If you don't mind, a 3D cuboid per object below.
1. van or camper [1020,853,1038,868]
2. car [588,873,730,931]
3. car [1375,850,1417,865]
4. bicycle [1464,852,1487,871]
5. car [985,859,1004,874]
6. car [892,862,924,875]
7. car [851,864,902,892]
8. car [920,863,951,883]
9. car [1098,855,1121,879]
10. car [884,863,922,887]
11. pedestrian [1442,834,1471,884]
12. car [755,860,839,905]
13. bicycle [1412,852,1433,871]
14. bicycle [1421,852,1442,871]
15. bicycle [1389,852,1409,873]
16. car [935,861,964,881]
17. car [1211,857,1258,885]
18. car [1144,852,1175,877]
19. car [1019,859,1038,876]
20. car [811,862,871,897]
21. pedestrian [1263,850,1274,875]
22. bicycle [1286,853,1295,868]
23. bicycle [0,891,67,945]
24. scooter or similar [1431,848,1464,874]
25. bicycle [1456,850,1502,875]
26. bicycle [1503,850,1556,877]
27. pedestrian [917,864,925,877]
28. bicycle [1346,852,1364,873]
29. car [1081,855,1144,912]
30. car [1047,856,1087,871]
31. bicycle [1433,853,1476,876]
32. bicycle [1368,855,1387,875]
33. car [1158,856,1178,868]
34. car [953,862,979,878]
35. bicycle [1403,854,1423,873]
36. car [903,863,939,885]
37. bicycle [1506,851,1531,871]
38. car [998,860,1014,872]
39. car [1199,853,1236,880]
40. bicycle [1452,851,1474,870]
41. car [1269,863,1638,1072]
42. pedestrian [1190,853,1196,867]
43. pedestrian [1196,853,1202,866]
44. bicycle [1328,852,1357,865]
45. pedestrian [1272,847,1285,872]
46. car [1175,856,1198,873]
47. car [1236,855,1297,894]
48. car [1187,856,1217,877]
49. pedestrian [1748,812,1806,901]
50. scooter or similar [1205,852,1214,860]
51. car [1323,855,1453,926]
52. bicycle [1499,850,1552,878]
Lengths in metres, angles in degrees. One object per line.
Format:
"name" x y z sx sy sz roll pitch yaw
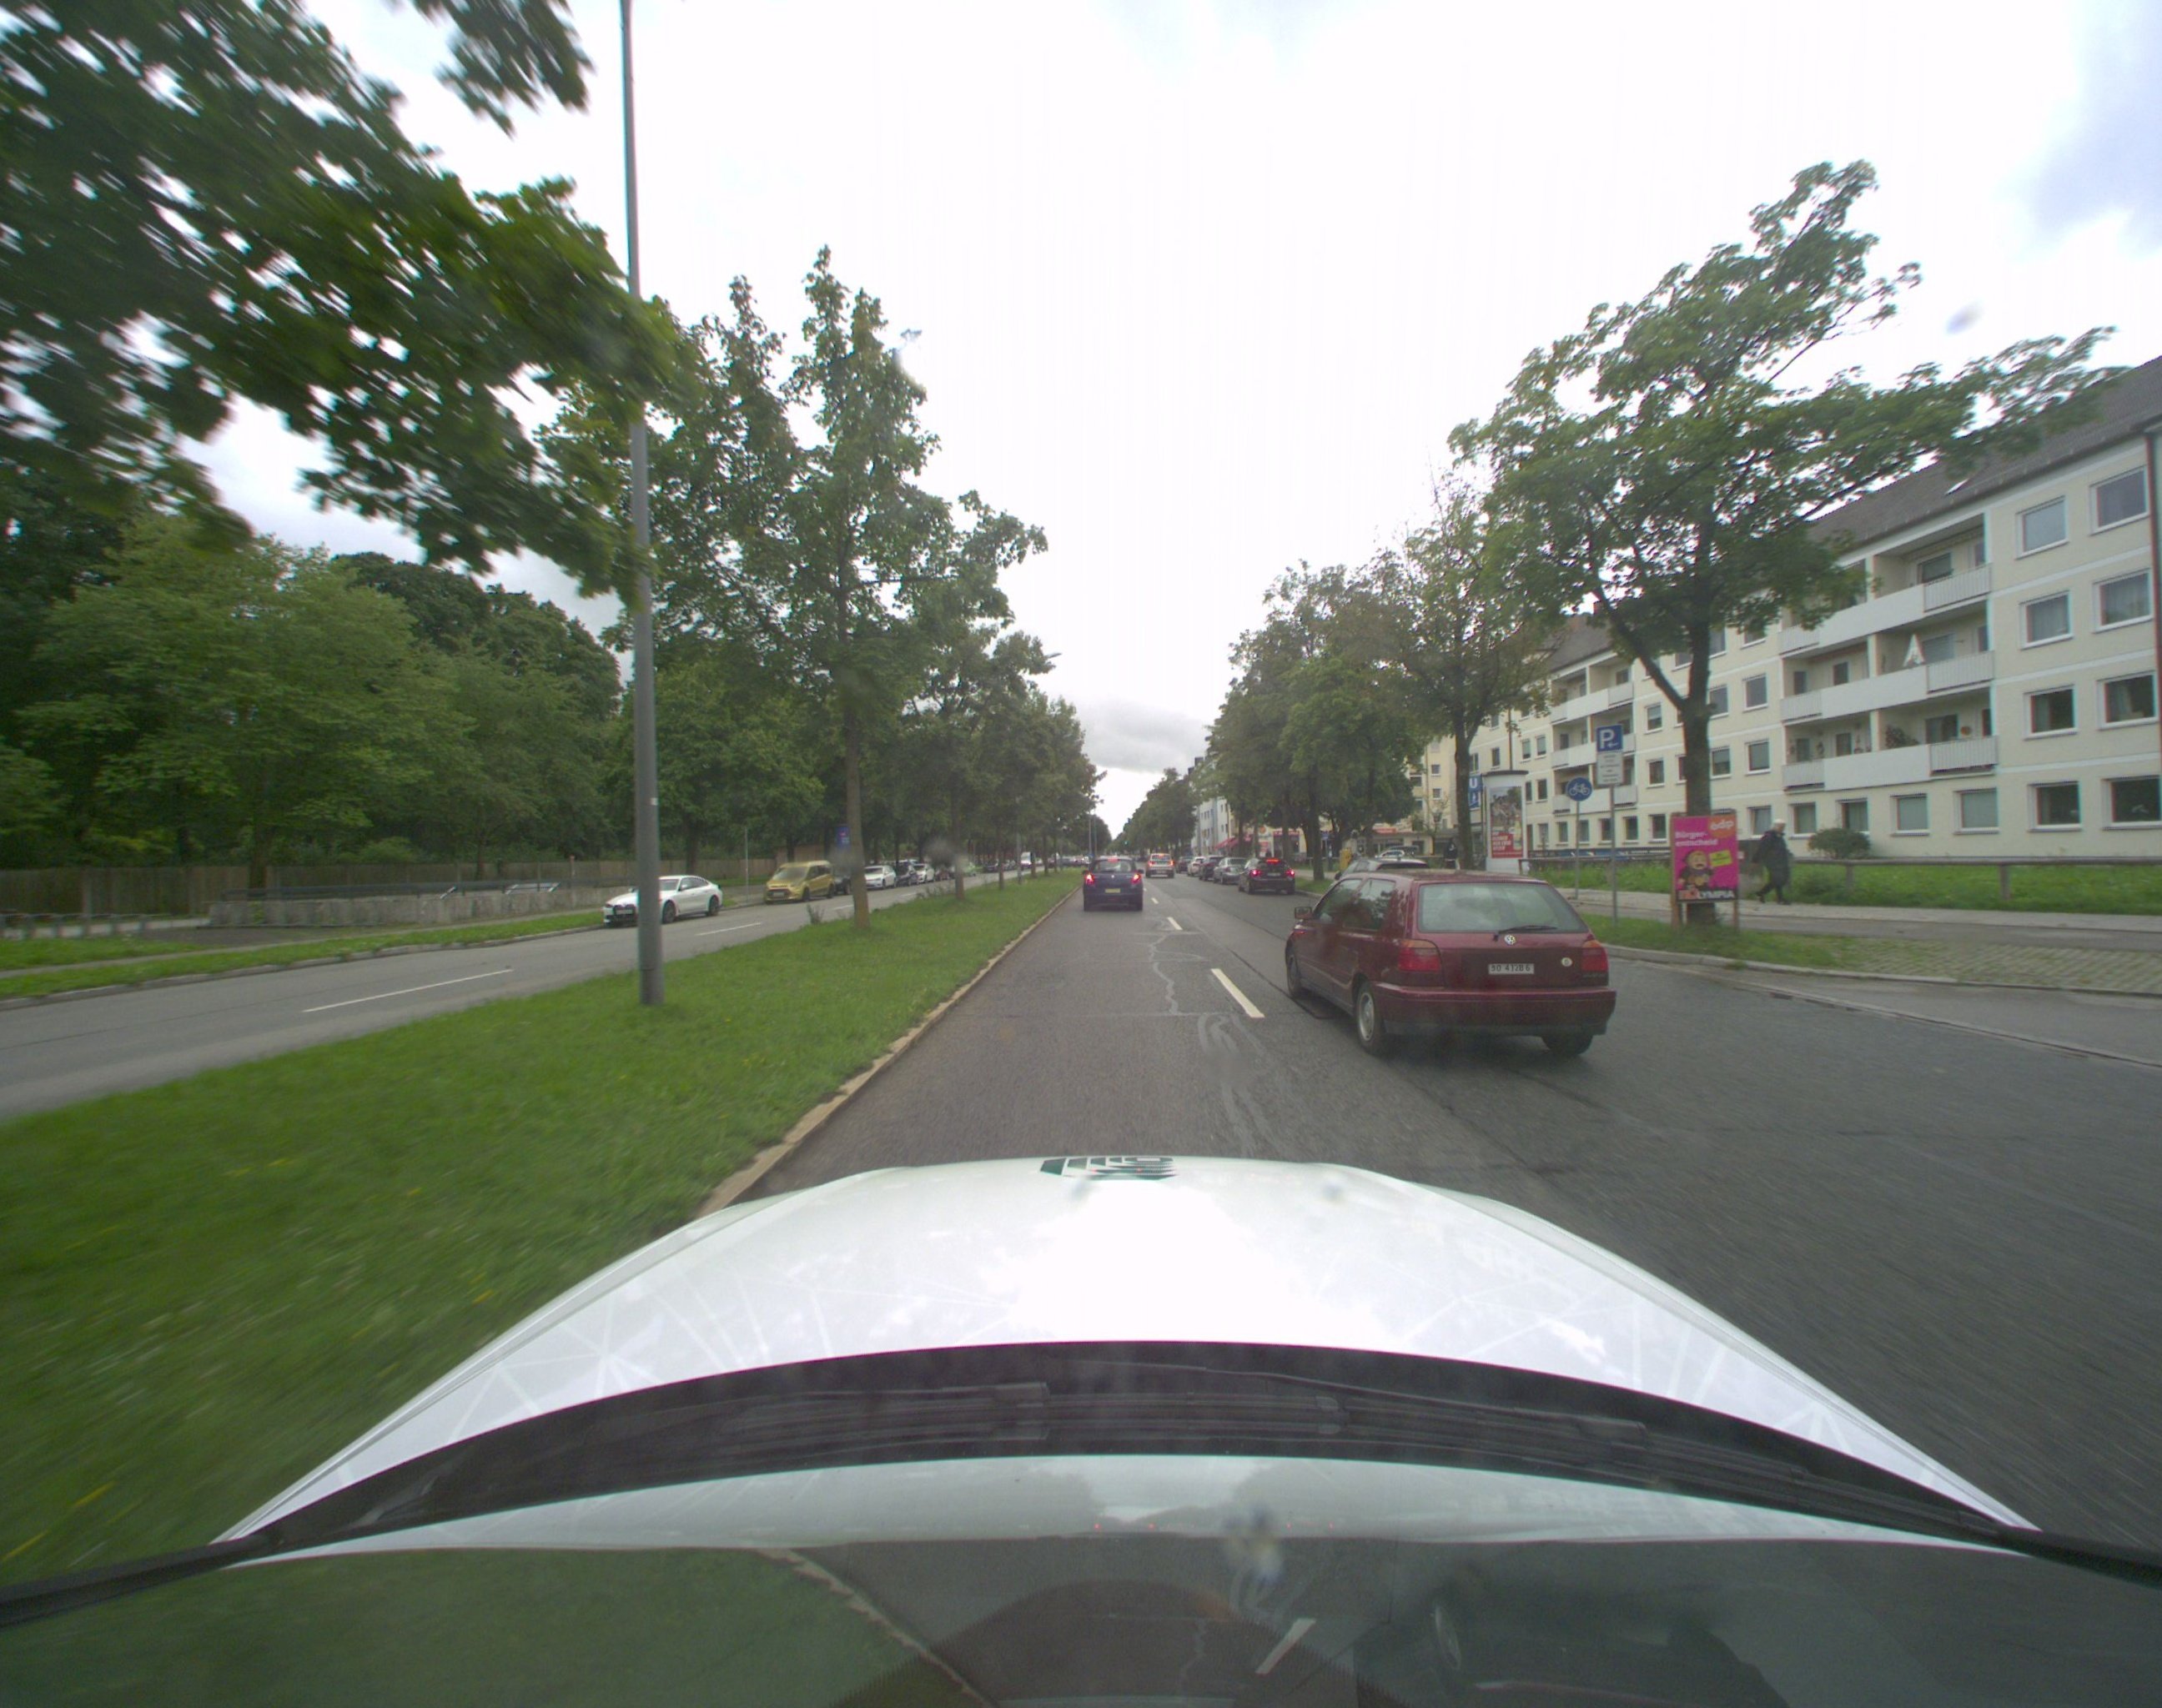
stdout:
"van or camper" -8.803 1.182 138.882 2.108 2.482 7.455 -1 -1 3
"car" -13.452 1.470 26.374 1.850 1.472 4.877 -3 0 2
"car" 32.219 0.326 83.315 3.536 1.417 1.872 -2 0 0
"bicycle" 21.931 0.406 45.280 0.429 1.028 1.885 -2 0 3
"car" -10.302 1.491 97.535 1.710 1.741 3.880 -1 -1 2
"car" -23.325 1.910 109.970 3.910 1.718 1.671 0 -1 -4
"car" -12.427 1.424 49.797 1.756 1.449 4.535 -3 0 2
"car" -11.768 1.514 65.975 1.583 1.397 3.634 -3 0 4
"car" 1.858 0.844 53.825 1.439 1.483 3.107 -1 0 1
"car" -11.992 1.400 54.986 1.608 1.417 3.897 -3 0 0
"pedestrian" 13.740 0.182 29.807 0.636 1.749 0.850 -3 0 3
"car" -12.778 1.241 37.018 1.807 1.783 4.822 -3 0 3
"bicycle" 18.988 0.419 45.272 0.429 1.028 1.885 -2 0 3
"bicycle" 19.471 0.401 45.288 0.429 1.028 1.885 -2 0 3
"bicycle" 17.748 0.456 45.418 0.429 1.101 1.885 -2 0 3
"car" -11.566 1.434 71.763 1.684 1.586 4.372 -3 0 2
"car" 8.078 0.878 43.169 1.631 1.386 4.243 0 0 -1
"car" 5.408 0.707 56.518 1.859 1.661 4.408 0 0 1
"car" -6.449 1.617 101.104 1.793 1.934 4.995 -3 -1 2
"car" -12.717 1.319 43.439 1.730 1.646 4.257 -3 0 2
"pedestrian" 14.625 0.680 63.427 0.586 1.890 0.902 -2 -1 1
"bicycle" 16.606 0.518 64.551 0.380 1.103 1.885 -1 -1 3
"bicycle" -23.379 1.404 17.652 0.429 1.100 1.827 -1 0 3
"scooter or similar" 17.379 0.343 38.650 0.360 1.200 1.374 -2 -1 -40
"bicycle" 18.119 0.380 37.072 1.872 1.028 0.432 -2 -1 -1
"bicycle" 17.999 0.375 32.700 1.873 1.028 0.432 -2 -1 -4
"pedestrian" -18.320 1.872 93.424 0.724 1.534 0.721 -1 -1 3
"bicycle" 15.477 0.487 46.061 0.429 1.133 1.885 -2 0 3
"car" 0.912 0.798 24.086 1.676 1.502 3.920 -1 0 1
"car" -1.465 1.002 85.955 4.113 1.468 1.837 -2 0 -4
"bicycle" 18.101 0.485 39.459 1.872 1.028 0.432 -2 -1 -1
"bicycle" 16.594 0.604 45.563 0.429 1.028 1.885 -2 0 3
"car" 10.693 0.965 100.336 1.860 1.417 4.222 -2 0 -1
"car" -11.243 1.514 79.876 1.540 1.409 3.884 -3 0 5
"bicycle" 18.445 0.524 45.301 0.429 1.028 1.885 -2 0 3
"car" -11.955 1.491 60.916 1.601 1.444 4.281 -3 0 2
"bicycle" 23.972 0.382 44.613 0.429 1.028 1.885 -2 0 3
"car" -9.907 1.569 107.636 1.661 1.445 3.880 -1 -1 2
"car" 8.143 0.732 48.882 1.710 1.533 4.278 0 0 2
"bicycle" 21.210 0.361 45.242 0.429 1.028 1.885 -2 0 3
"car" 2.972 0.792 7.471 1.676 1.384 3.920 0 0 1
"pedestrian" 17.091 0.892 124.016 0.791 2.013 1.007 -1 0 3
"pedestrian" 17.905 0.852 124.007 0.791 2.013 1.007 -1 0 3
"bicycle" 18.678 0.338 58.160 1.869 0.940 0.558 0 -1 3
"pedestrian" 15.341 0.410 63.408 0.727 1.890 0.919 -2 -1 1
"car" 9.042 0.894 69.776 1.611 1.465 3.676 0 0 2
"car" 7.388 0.793 32.815 1.743 1.465 4.180 0 0 3
"car" 8.738 0.859 59.143 1.676 1.465 4.138 1 0 2
"pedestrian" 13.903 0.045 16.285 0.639 1.730 0.599 0 -1 -10
"scooter or similar" 20.012 0.309 126.648 1.028 1.307 2.757 -2 0 3
"car" 6.956 0.758 18.896 1.675 1.465 4.118 0 0 3
"bicycle" 17.558 0.407 32.164 1.875 1.028 0.432 -2 -1 -6
